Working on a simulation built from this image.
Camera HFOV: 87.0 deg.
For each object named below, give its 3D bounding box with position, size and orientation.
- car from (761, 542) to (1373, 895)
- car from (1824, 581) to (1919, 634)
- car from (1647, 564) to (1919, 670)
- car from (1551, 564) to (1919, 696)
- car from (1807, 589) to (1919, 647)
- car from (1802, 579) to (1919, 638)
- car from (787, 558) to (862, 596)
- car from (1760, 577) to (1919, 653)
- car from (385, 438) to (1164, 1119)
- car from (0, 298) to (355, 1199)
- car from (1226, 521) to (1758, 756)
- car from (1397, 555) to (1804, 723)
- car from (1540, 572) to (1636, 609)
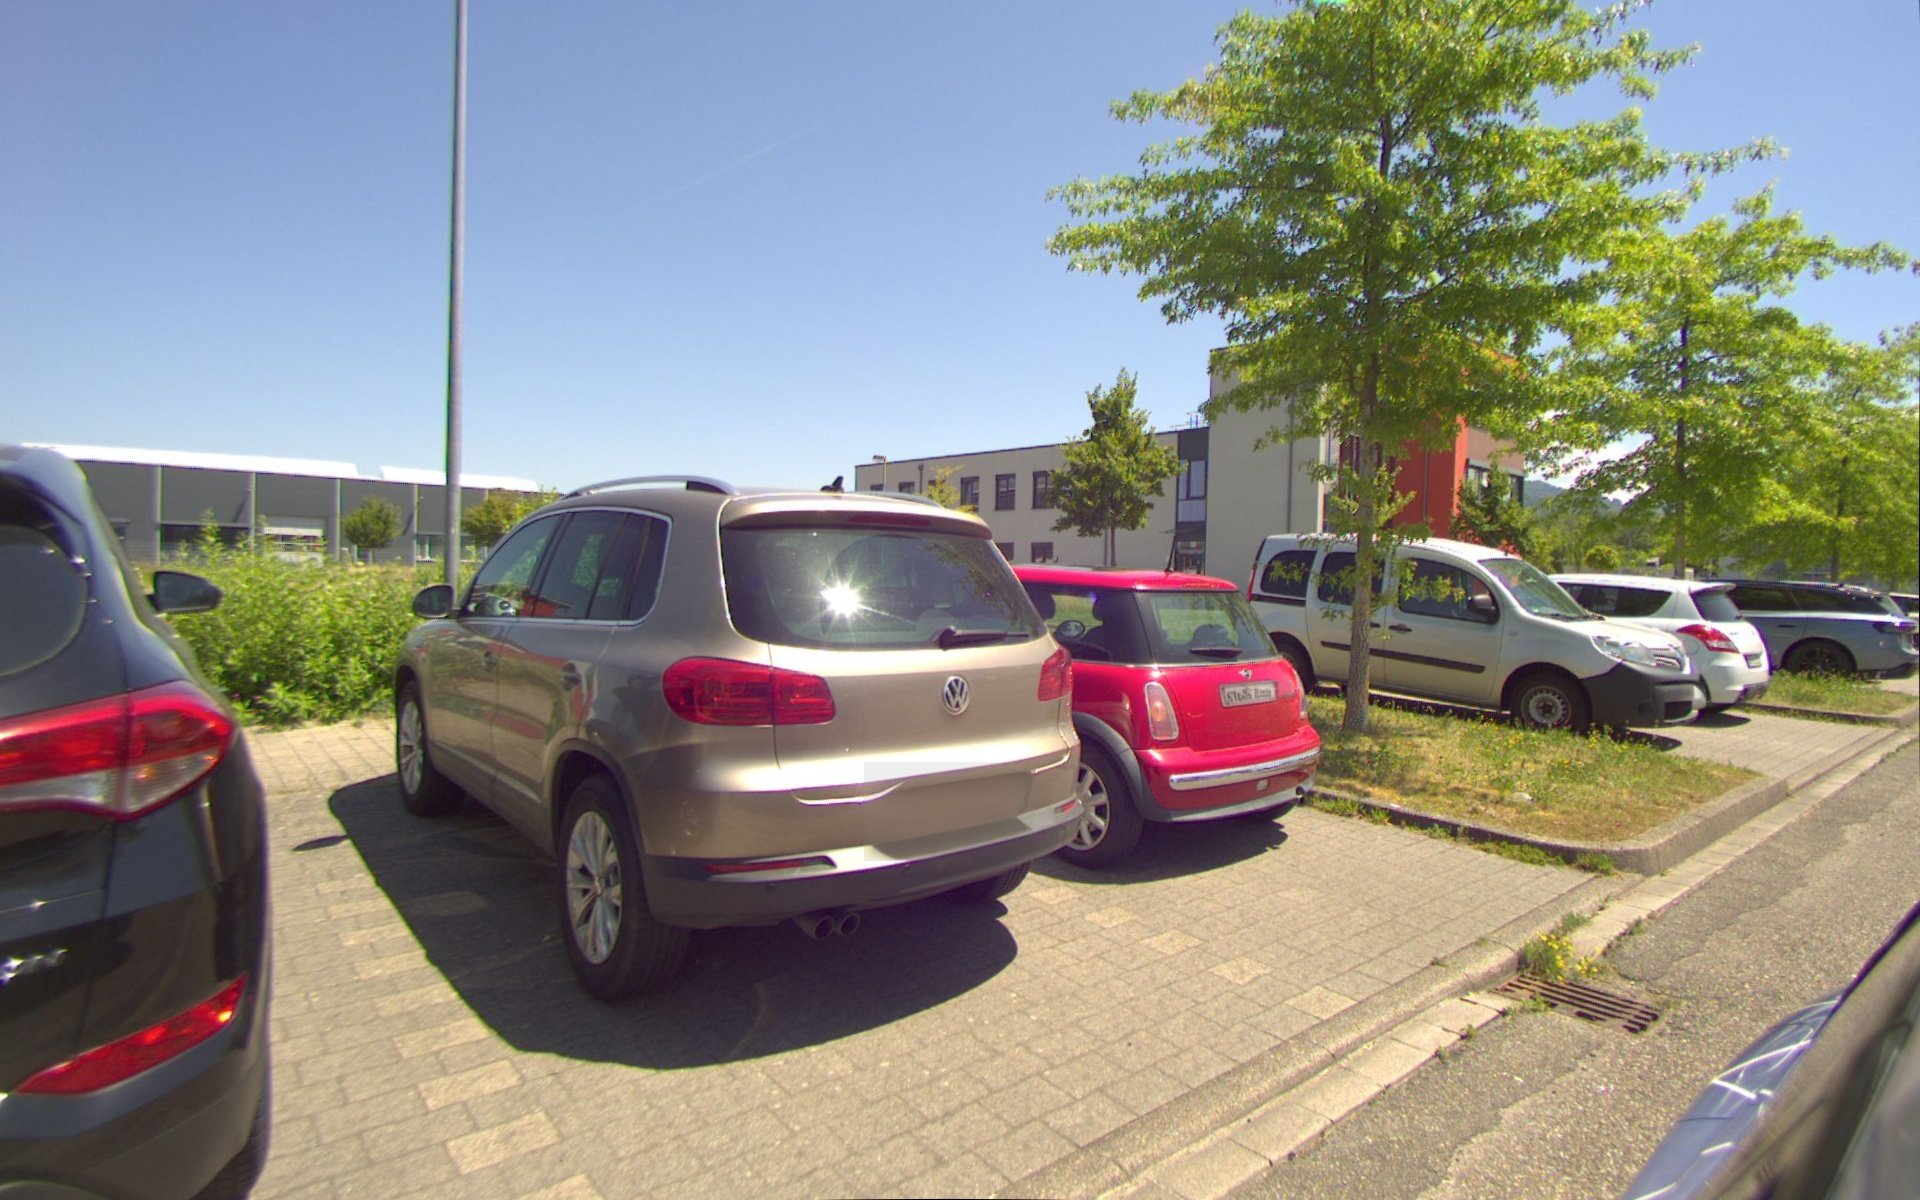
[{"bbox_3d":[0.421,0.437,6.209,1.724,1.434,3.466,0,4,-40],"label":"car"},{"bbox_3d":[30.748,0.290,32.661,1.695,1.508,4.011,2,4,-36],"label":"car"},{"bbox_3d":[15.871,0.239,19.442,1.663,1.644,4.058,1,4,-39],"label":"car"},{"bbox_3d":[12.228,0.356,15.879,1.882,1.579,4.723,0,4,-43],"label":"car"},{"bbox_3d":[27.118,0.542,29.329,1.581,1.481,3.629,1,3,-38],"label":"car"},{"bbox_3d":[28.931,0.291,31.294,1.741,1.670,4.122,1,2,-38],"label":"car"},{"bbox_3d":[-5.976,-1.016,44.395,1.689,1.528,3.331,1,2,-40],"label":"car"},{"bbox_3d":[21.272,0.347,23.489,1.745,1.572,3.849,2,2,-35],"label":"car"},{"bbox_3d":[-1.205,0.323,4.569,1.750,1.698,3.885,0,3,-40],"label":"car"},{"bbox_3d":[-2.982,0.328,2.591,1.751,1.717,4.183,0,4,-41],"label":"car"},{"bbox_3d":[5.133,0.178,10.356,1.763,1.852,4.416,0,4,-39],"label":"car"},{"bbox_3d":[7.329,0.324,11.870,1.646,1.521,3.641,0,4,-39],"label":"car"},{"bbox_3d":[33.531,-0.529,54.097,1.778,1.797,3.995,3,-1,-40],"label":"car"}]
